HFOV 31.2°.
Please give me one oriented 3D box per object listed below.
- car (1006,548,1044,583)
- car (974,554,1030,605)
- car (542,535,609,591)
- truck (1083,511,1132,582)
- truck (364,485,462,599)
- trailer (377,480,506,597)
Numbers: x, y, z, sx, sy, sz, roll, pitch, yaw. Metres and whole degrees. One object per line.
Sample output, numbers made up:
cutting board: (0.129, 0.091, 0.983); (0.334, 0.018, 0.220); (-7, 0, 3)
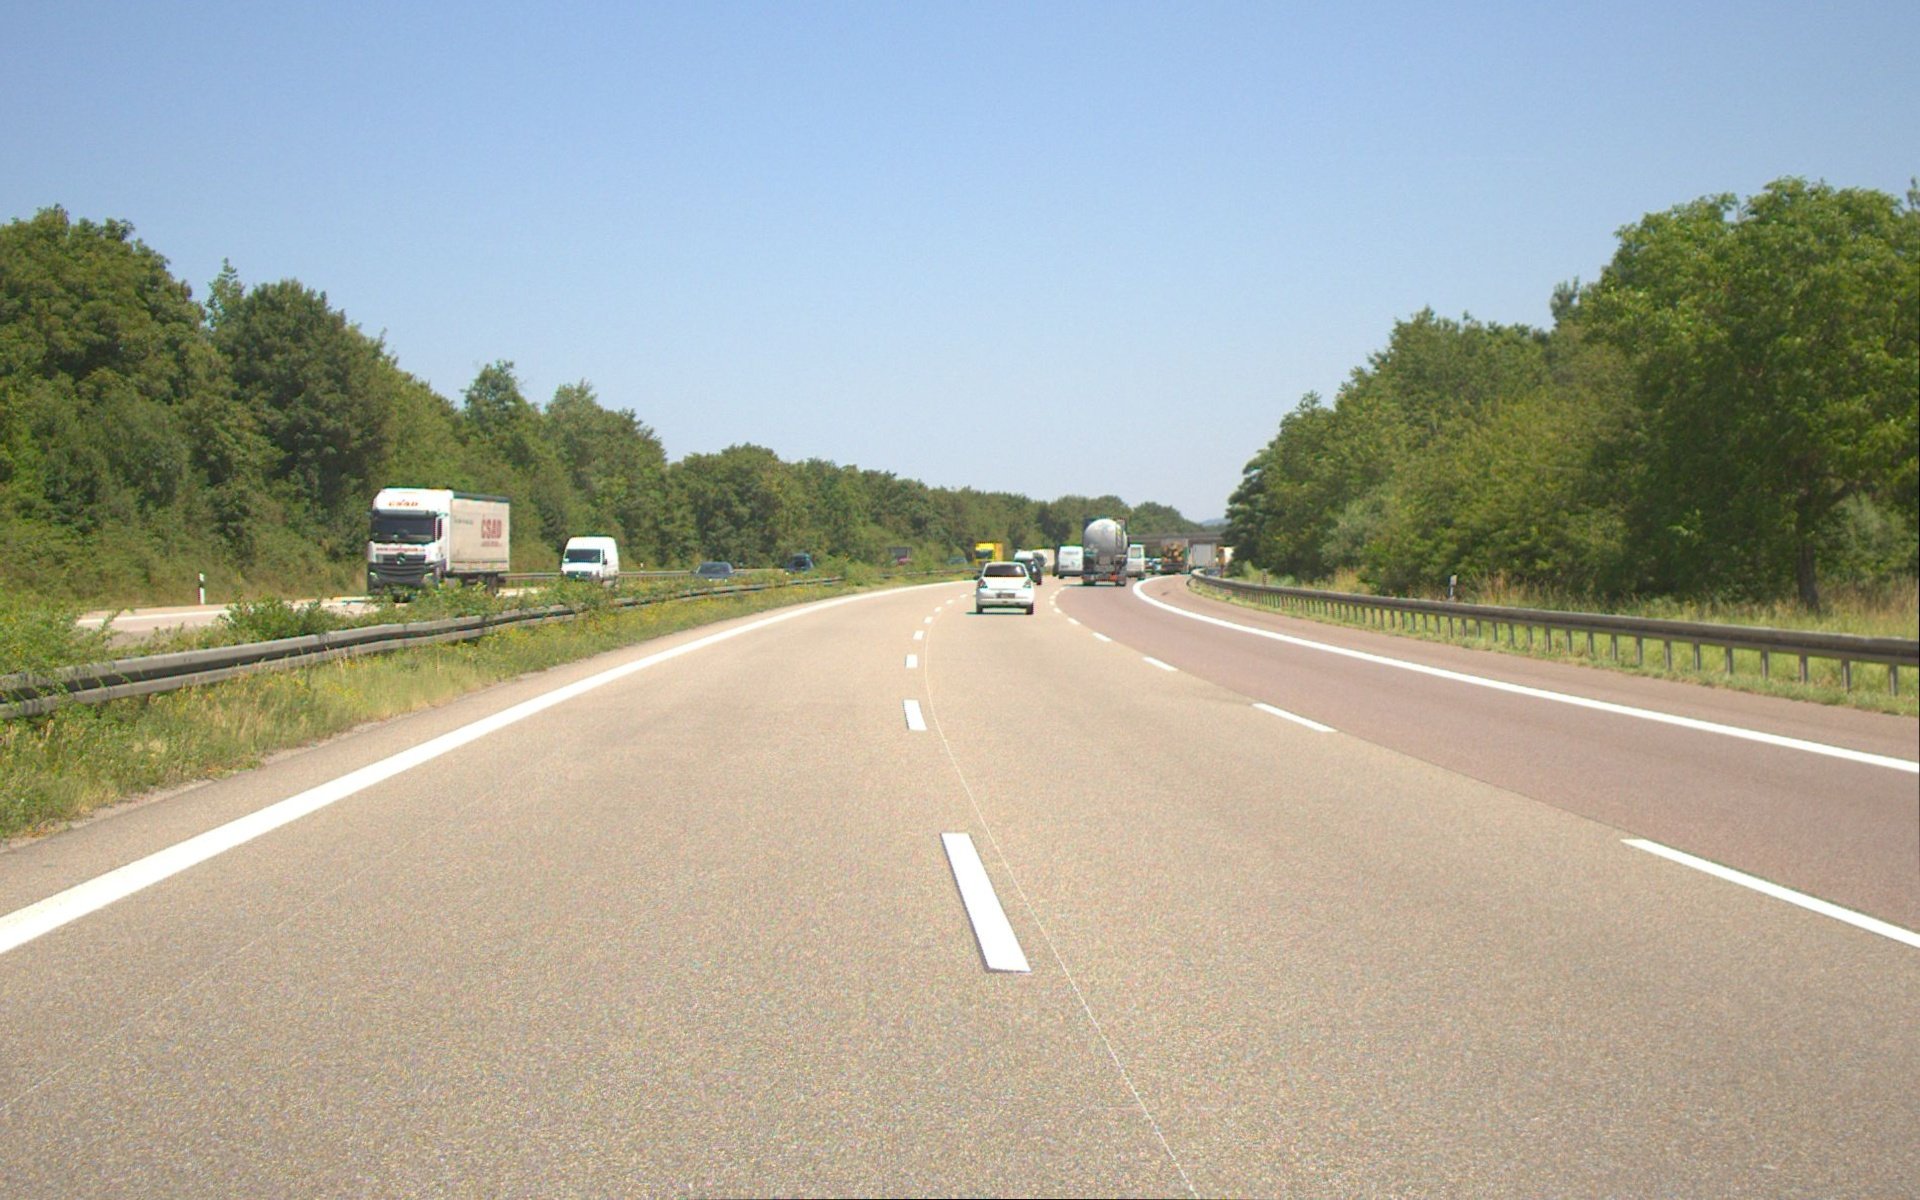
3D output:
car: (3.850, -2.068, 204.478); (1.994, 2.007, 3.999); (-1, 1, 5)
car: (1.226, -0.605, 101.380); (1.627, 1.474, 4.000); (0, 0, 0)
car: (-18.432, -1.781, 165.001); (2.229, 2.568, 7.391); (-1, 1, 1)
truck: (8.693, -3.120, 203.191); (2.739, 4.038, 10.454); (0, 0, 2)
truck: (-19.440, -2.064, 122.430); (2.702, 3.952, 4.443); (-1, 1, 1)
trailer: (-19.413, -2.280, 129.521); (2.706, 4.169, 13.559); (-1, 1, 0)
